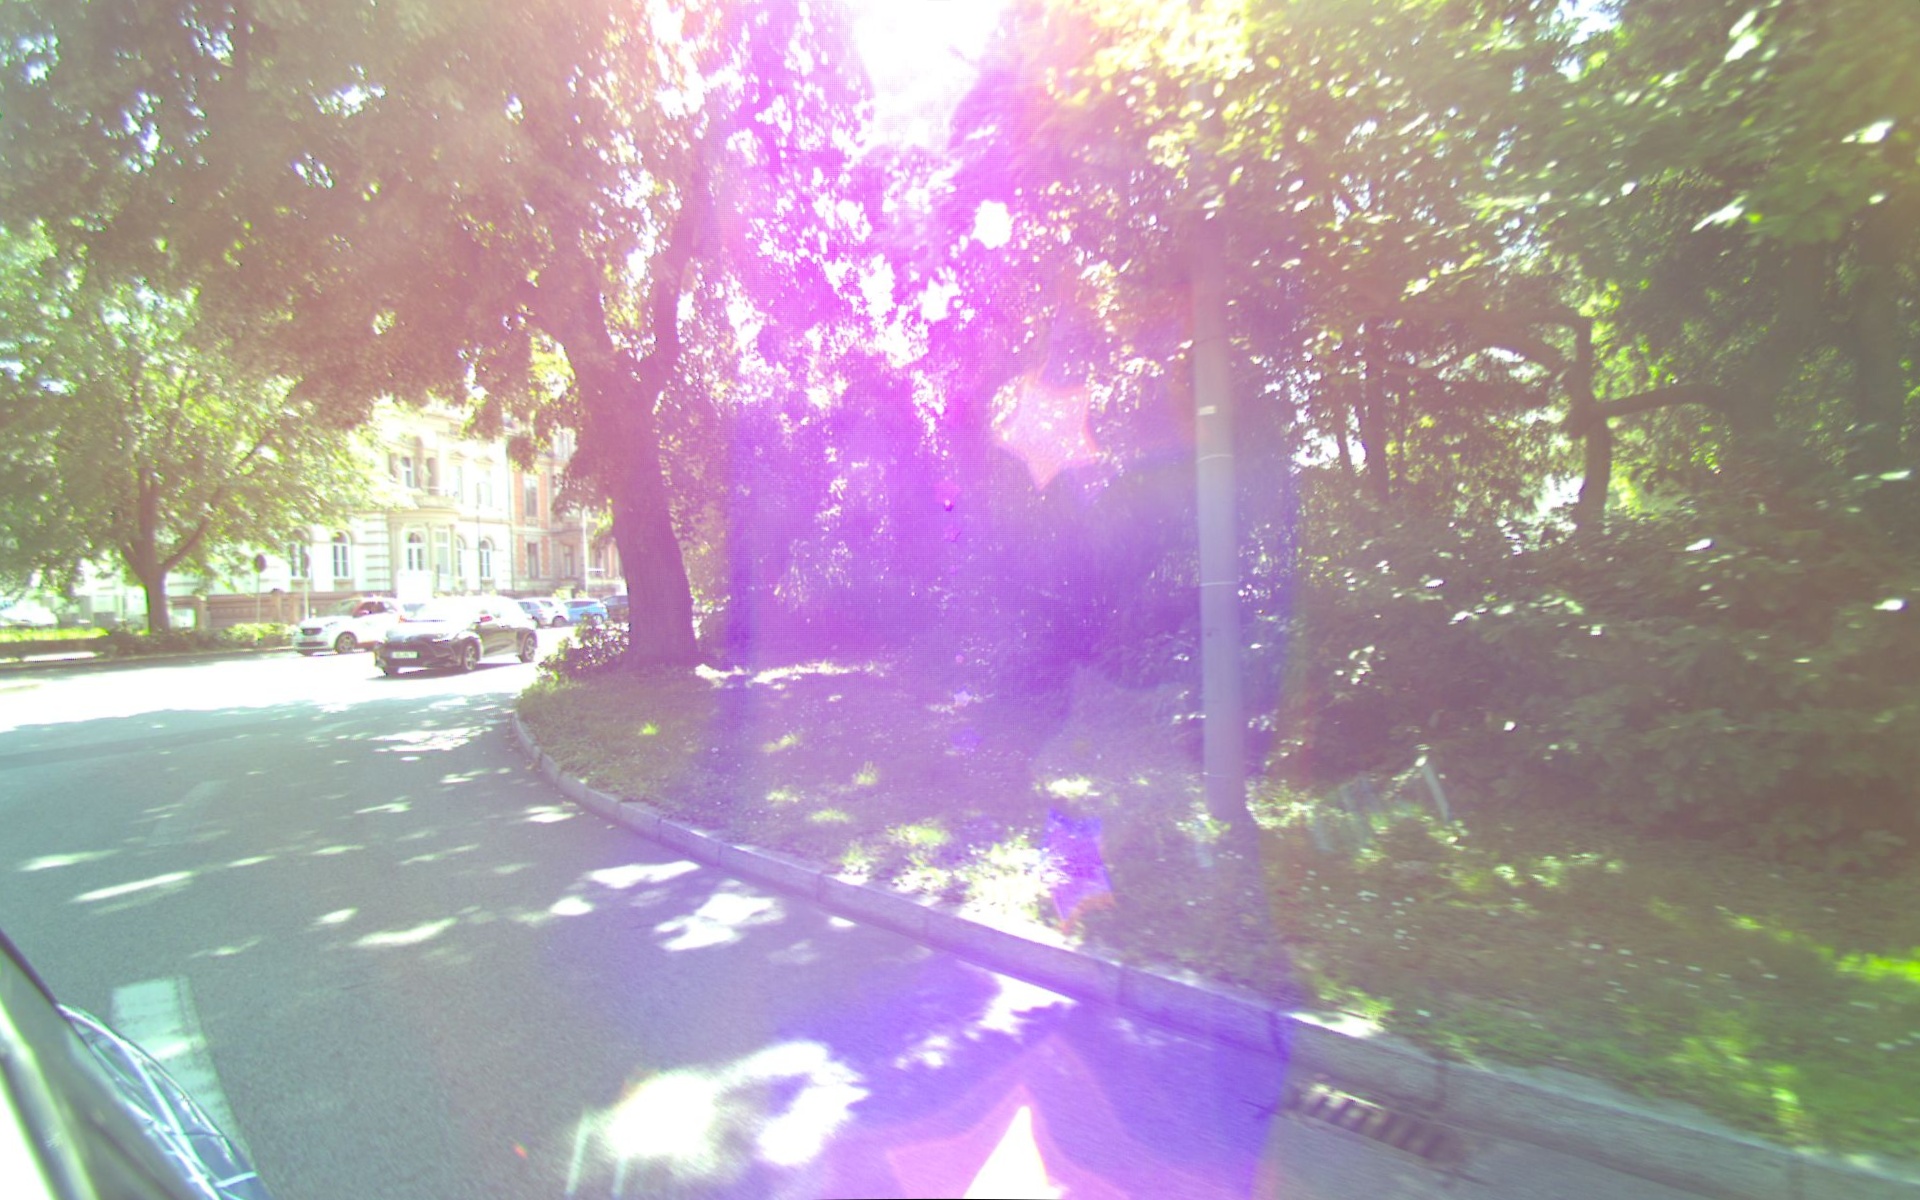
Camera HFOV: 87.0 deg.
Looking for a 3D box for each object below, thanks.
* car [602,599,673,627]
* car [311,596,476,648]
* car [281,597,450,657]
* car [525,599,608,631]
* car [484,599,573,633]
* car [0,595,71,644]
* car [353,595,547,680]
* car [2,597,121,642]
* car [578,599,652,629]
[{"bbox_3d":[-19.466,0.757,61.062,3.886,1.462,1.818,-3,1,-21],"label":"car"},{"bbox_3d":[-18.360,0.664,33.079,1.798,1.462,4.659,-2,1,19],"label":"car"},{"bbox_3d":[-16.923,0.731,29.021,1.798,1.462,3.929,-2,1,19],"label":"car"},{"bbox_3d":[-20.686,0.775,53.248,3.886,1.462,1.652,-3,1,-27],"label":"car"},{"bbox_3d":[-21.433,0.785,50.248,3.886,1.462,1.652,-3,1,-27],"label":"car"},{"bbox_3d":[-34.385,0.718,36.544,3.973,1.674,1.838,-1,0,22],"label":"car"},{"bbox_3d":[-10.319,0.693,20.831,1.788,1.462,3.950,-1,2,4],"label":"car"},{"bbox_3d":[-34.320,0.759,38.671,3.973,1.590,1.838,-1,0,22],"label":"car"},{"bbox_3d":[-19.557,0.759,57.354,3.886,1.462,1.652,-3,1,-21],"label":"car"}]
